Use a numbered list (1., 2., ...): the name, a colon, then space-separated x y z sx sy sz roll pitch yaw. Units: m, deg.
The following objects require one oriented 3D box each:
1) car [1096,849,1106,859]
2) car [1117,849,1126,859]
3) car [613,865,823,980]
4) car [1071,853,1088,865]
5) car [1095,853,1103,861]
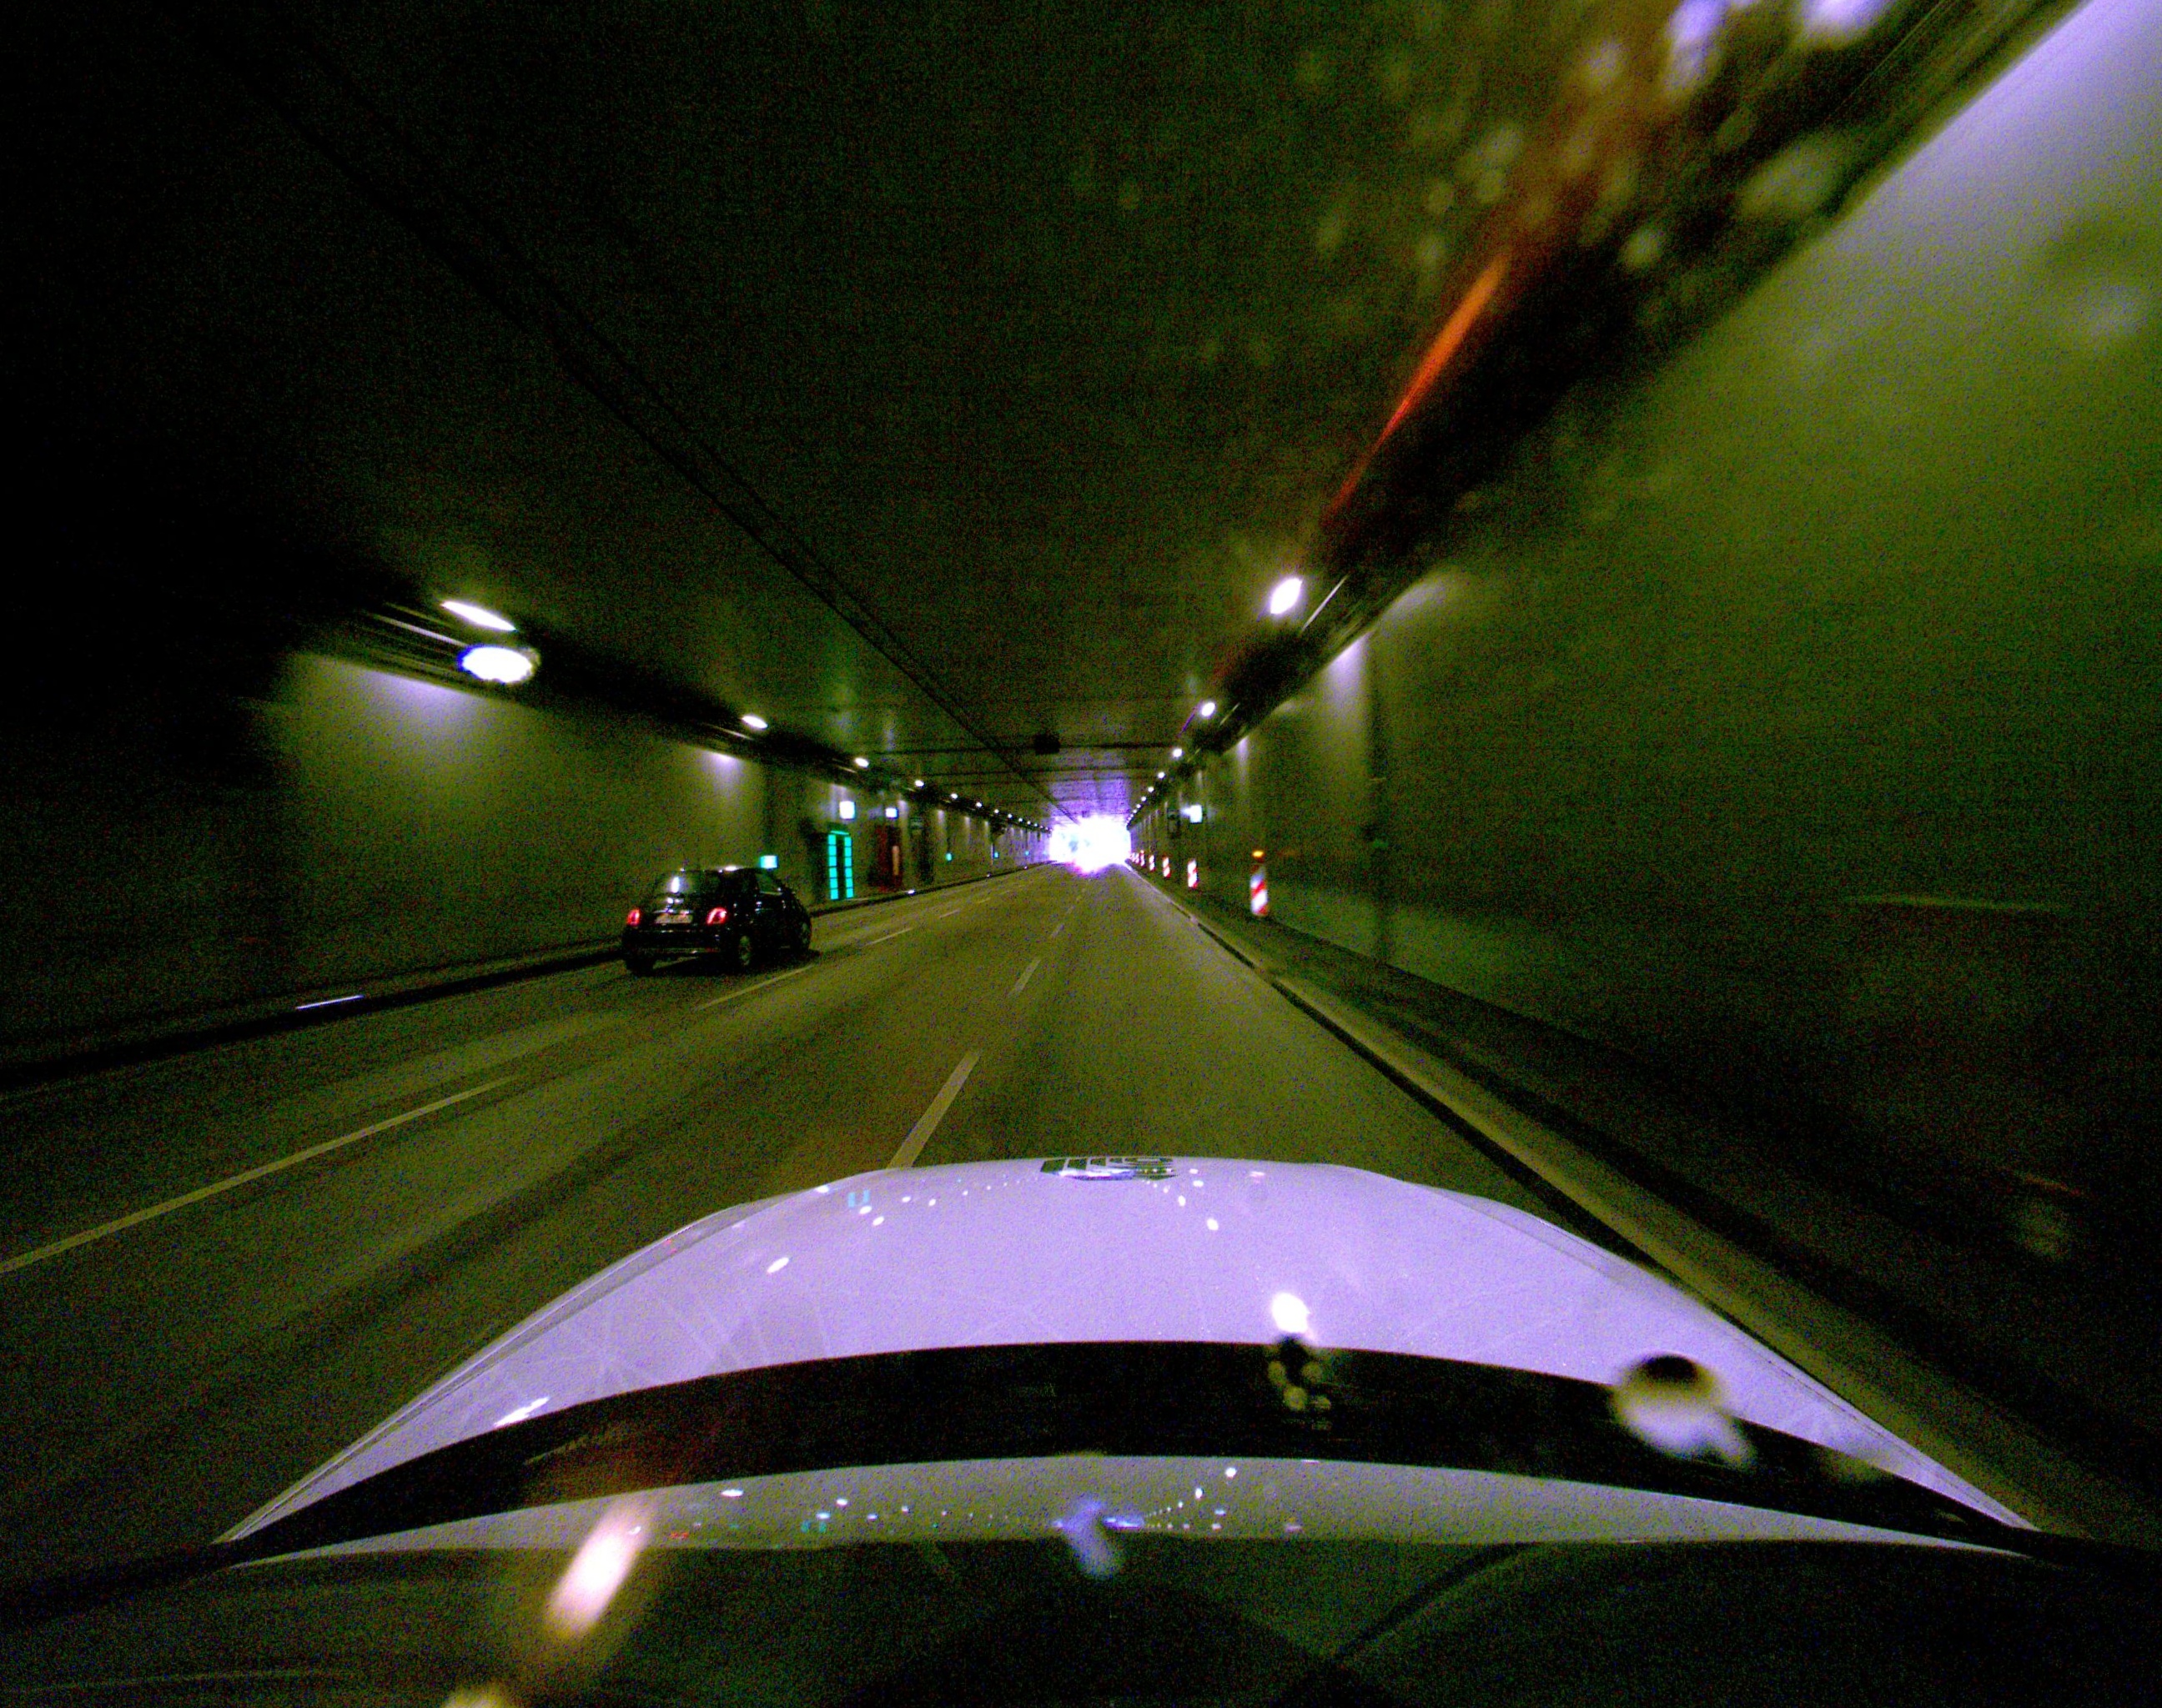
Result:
1. car: 4.203 0.023 169.269 1.986 2.014 4.002 -1 -1 2
2. car: 9.073 0.041 183.125 1.986 2.014 4.002 -1 -1 2
3. car: -5.371 0.927 12.560 1.607 1.454 3.572 -1 0 0
4. car: -0.191 0.574 98.966 1.988 1.448 4.311 -1 0 -2
5. car: 4.724 0.708 209.243 1.986 2.014 4.001 -2 -1 1
